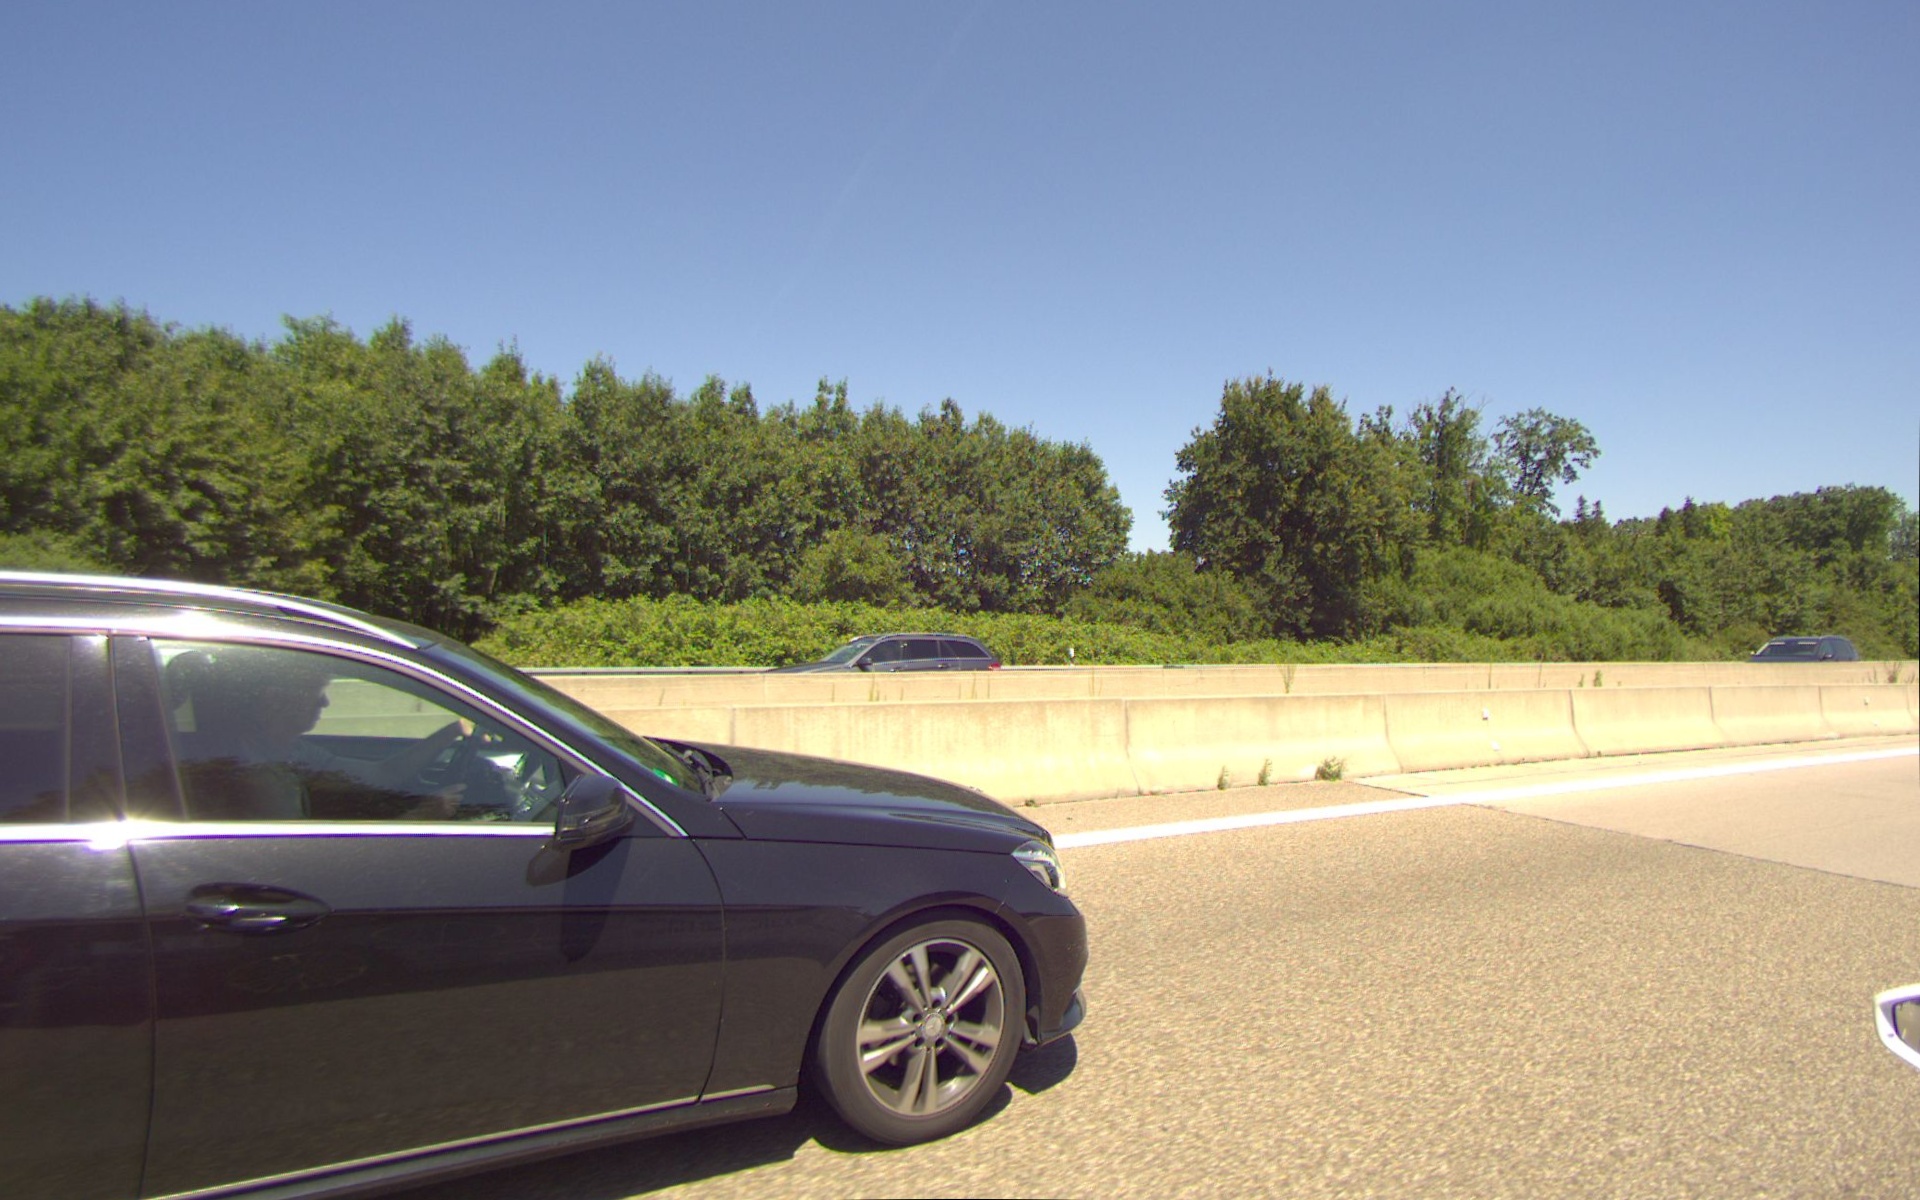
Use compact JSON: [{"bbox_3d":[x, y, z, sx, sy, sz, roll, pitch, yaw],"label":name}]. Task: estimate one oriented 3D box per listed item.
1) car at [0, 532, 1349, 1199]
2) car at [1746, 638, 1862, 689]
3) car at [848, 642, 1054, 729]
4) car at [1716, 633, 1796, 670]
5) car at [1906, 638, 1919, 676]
[{"bbox_3d":[-1.475,0.644,2.951,5.537,1.493,1.882,0,-1,-30],"label":"car"},{"bbox_3d":[25.103,1.859,29.877,3.481,1.437,1.553,2,-2,-30],"label":"car"},{"bbox_3d":[-0.151,1.517,18.623,3.481,1.437,1.624,1,-1,-30],"label":"car"},{"bbox_3d":[37.618,2.414,47.446,4.045,1.679,1.694,2,-2,-32],"label":"car"},{"bbox_3d":[45.427,2.634,46.209,4.357,1.679,1.694,2,-2,-32],"label":"car"}]
